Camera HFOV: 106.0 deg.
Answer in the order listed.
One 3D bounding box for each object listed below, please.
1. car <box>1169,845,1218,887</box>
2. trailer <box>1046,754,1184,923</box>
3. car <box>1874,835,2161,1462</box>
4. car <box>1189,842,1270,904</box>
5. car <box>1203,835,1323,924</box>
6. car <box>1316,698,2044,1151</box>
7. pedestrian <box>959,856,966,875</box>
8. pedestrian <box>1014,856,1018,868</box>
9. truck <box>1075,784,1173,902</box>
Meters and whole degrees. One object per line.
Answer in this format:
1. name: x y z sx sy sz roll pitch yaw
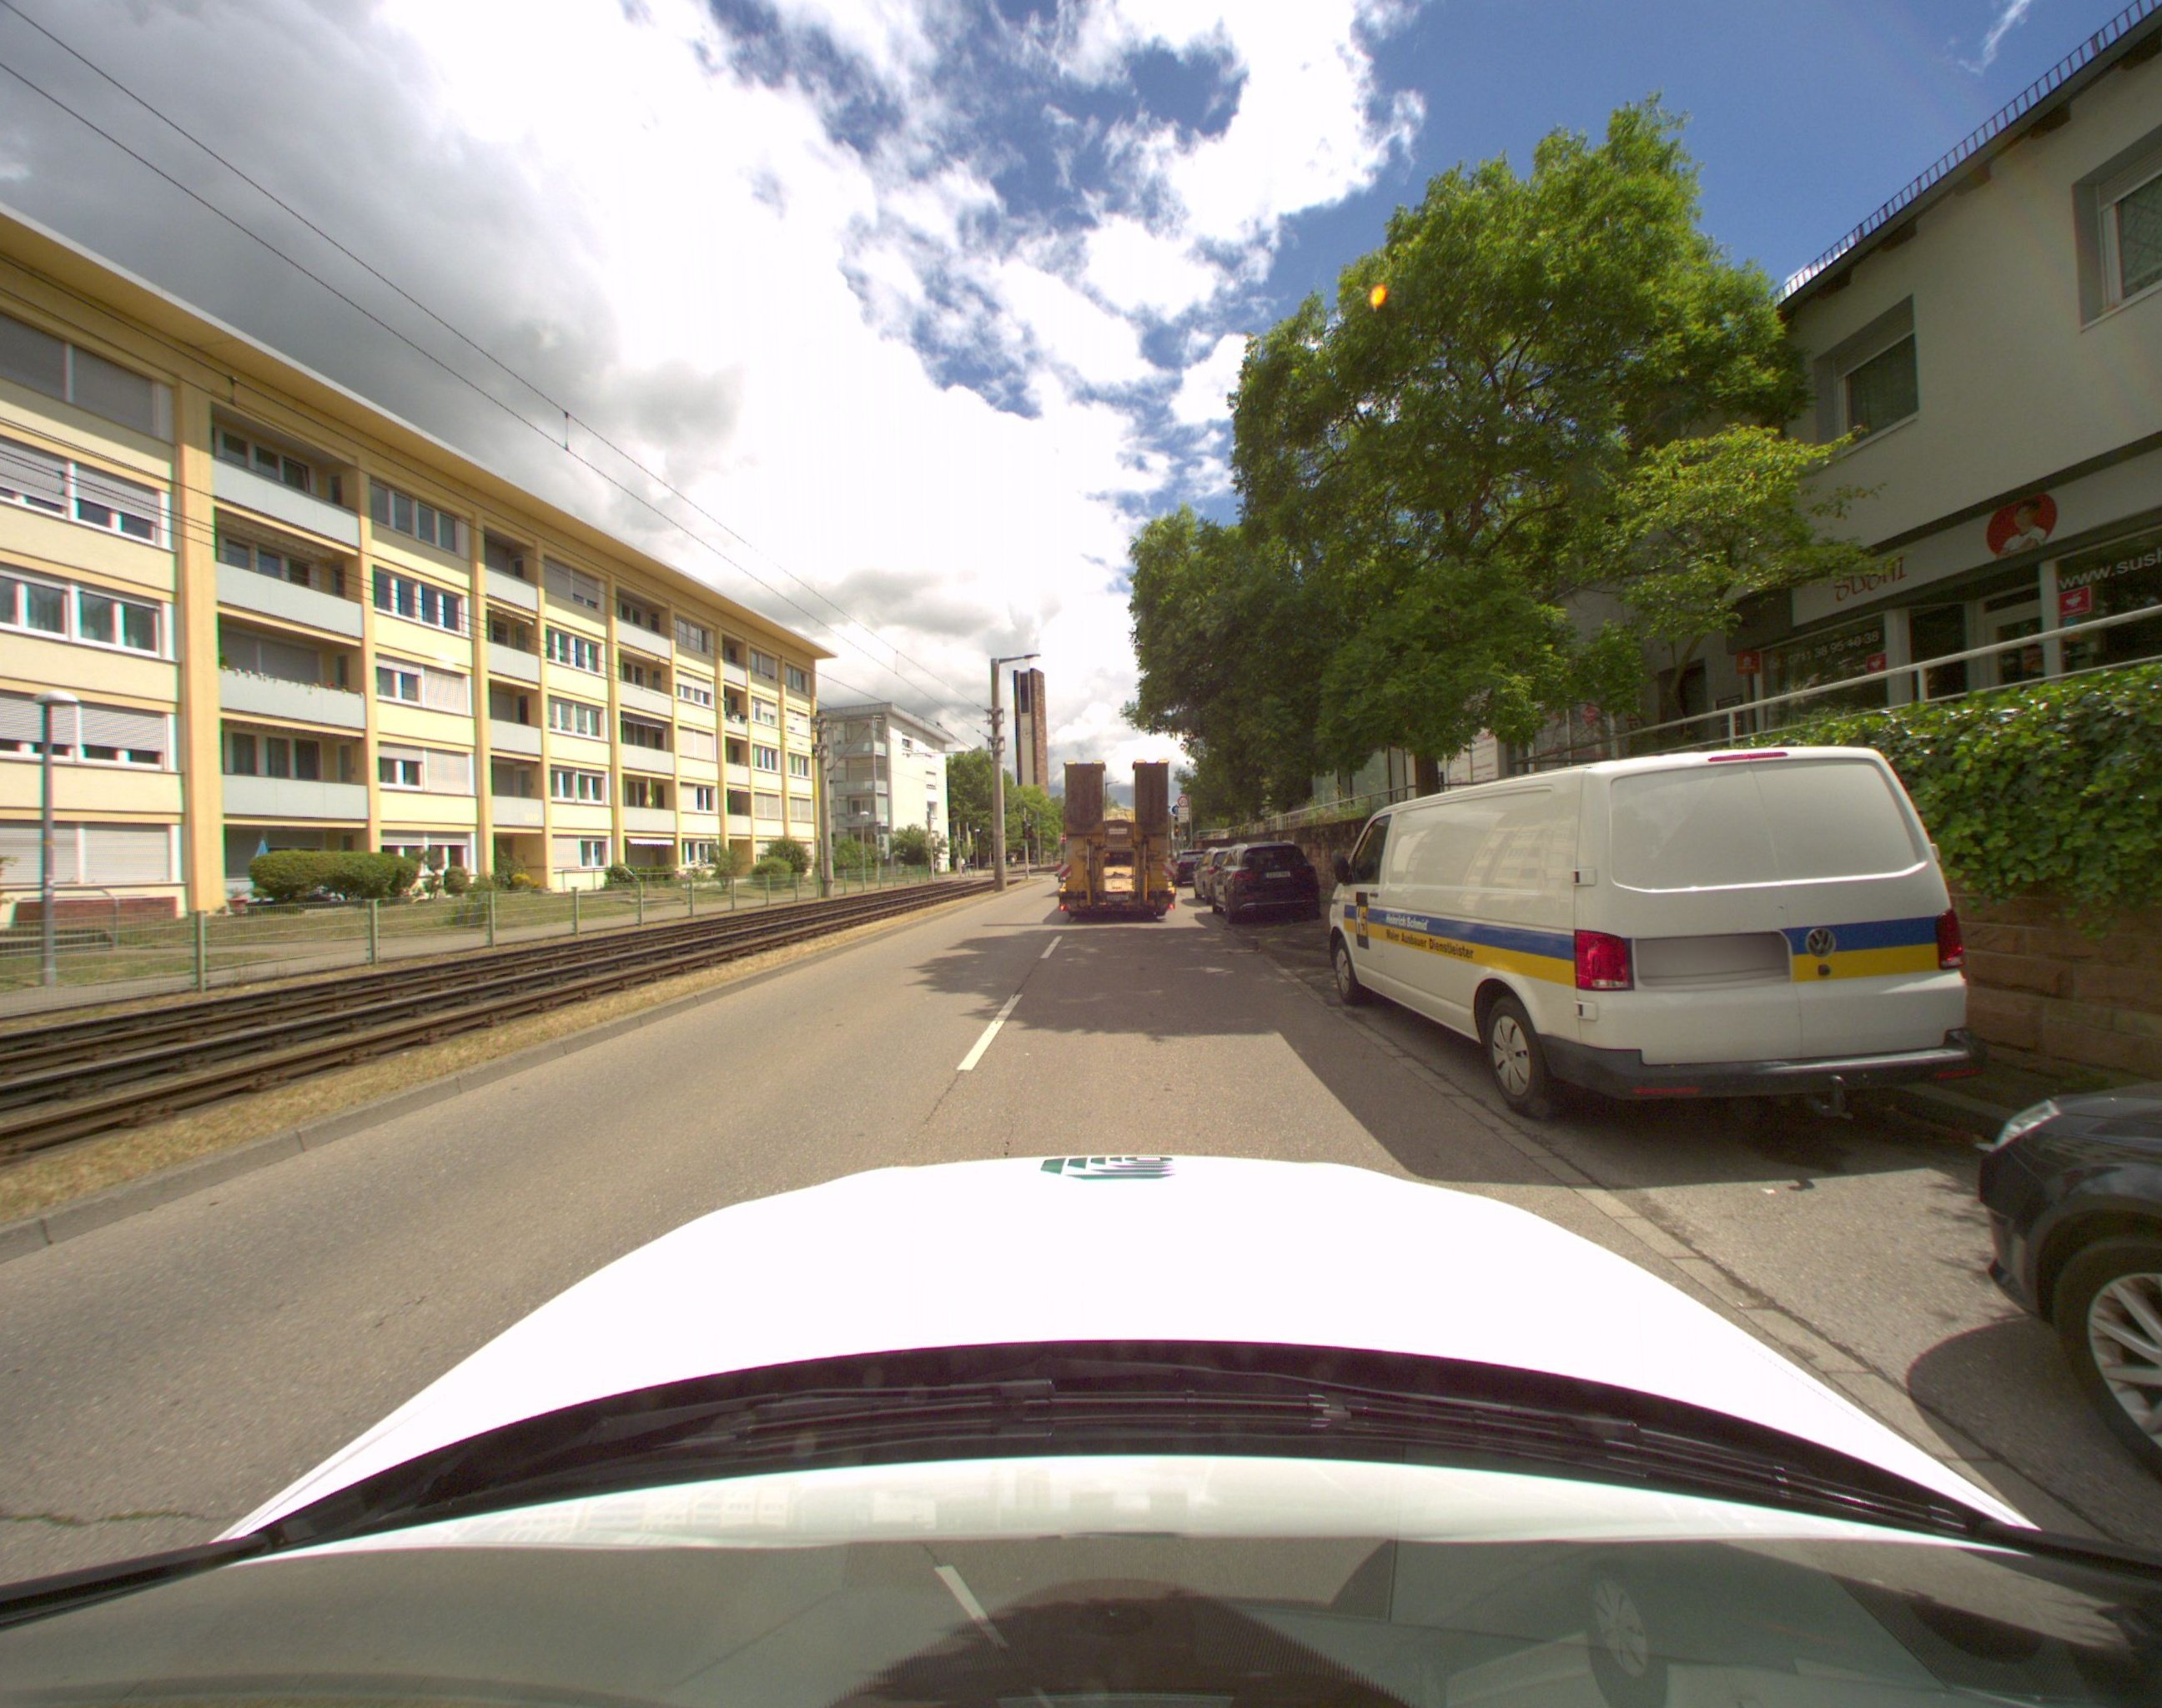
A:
1. car: 4.949 0.503 36.170 1.842 1.639 4.005 -3 0 4
2. trailer: 1.064 -0.338 21.793 2.931 3.601 8.694 0 0 4
3. car: 3.176 0.664 0.646 1.567 1.428 3.738 -2 0 3
4. car: 4.343 0.529 24.451 1.782 1.617 4.251 -3 0 3
5. car: 3.877 0.499 18.082 1.783 1.617 4.450 -4 0 3
6. car: 3.374 0.316 6.133 1.965 1.970 5.017 -2 0 3
7. pedestrian: -10.139 0.987 69.799 0.435 1.581 0.475 -1 0 7
8. pedestrian: -7.871 0.960 98.625 0.346 1.537 0.558 -1 0 7
9. truck: 1.501 -0.336 27.183 2.929 3.572 4.883 0 0 4
